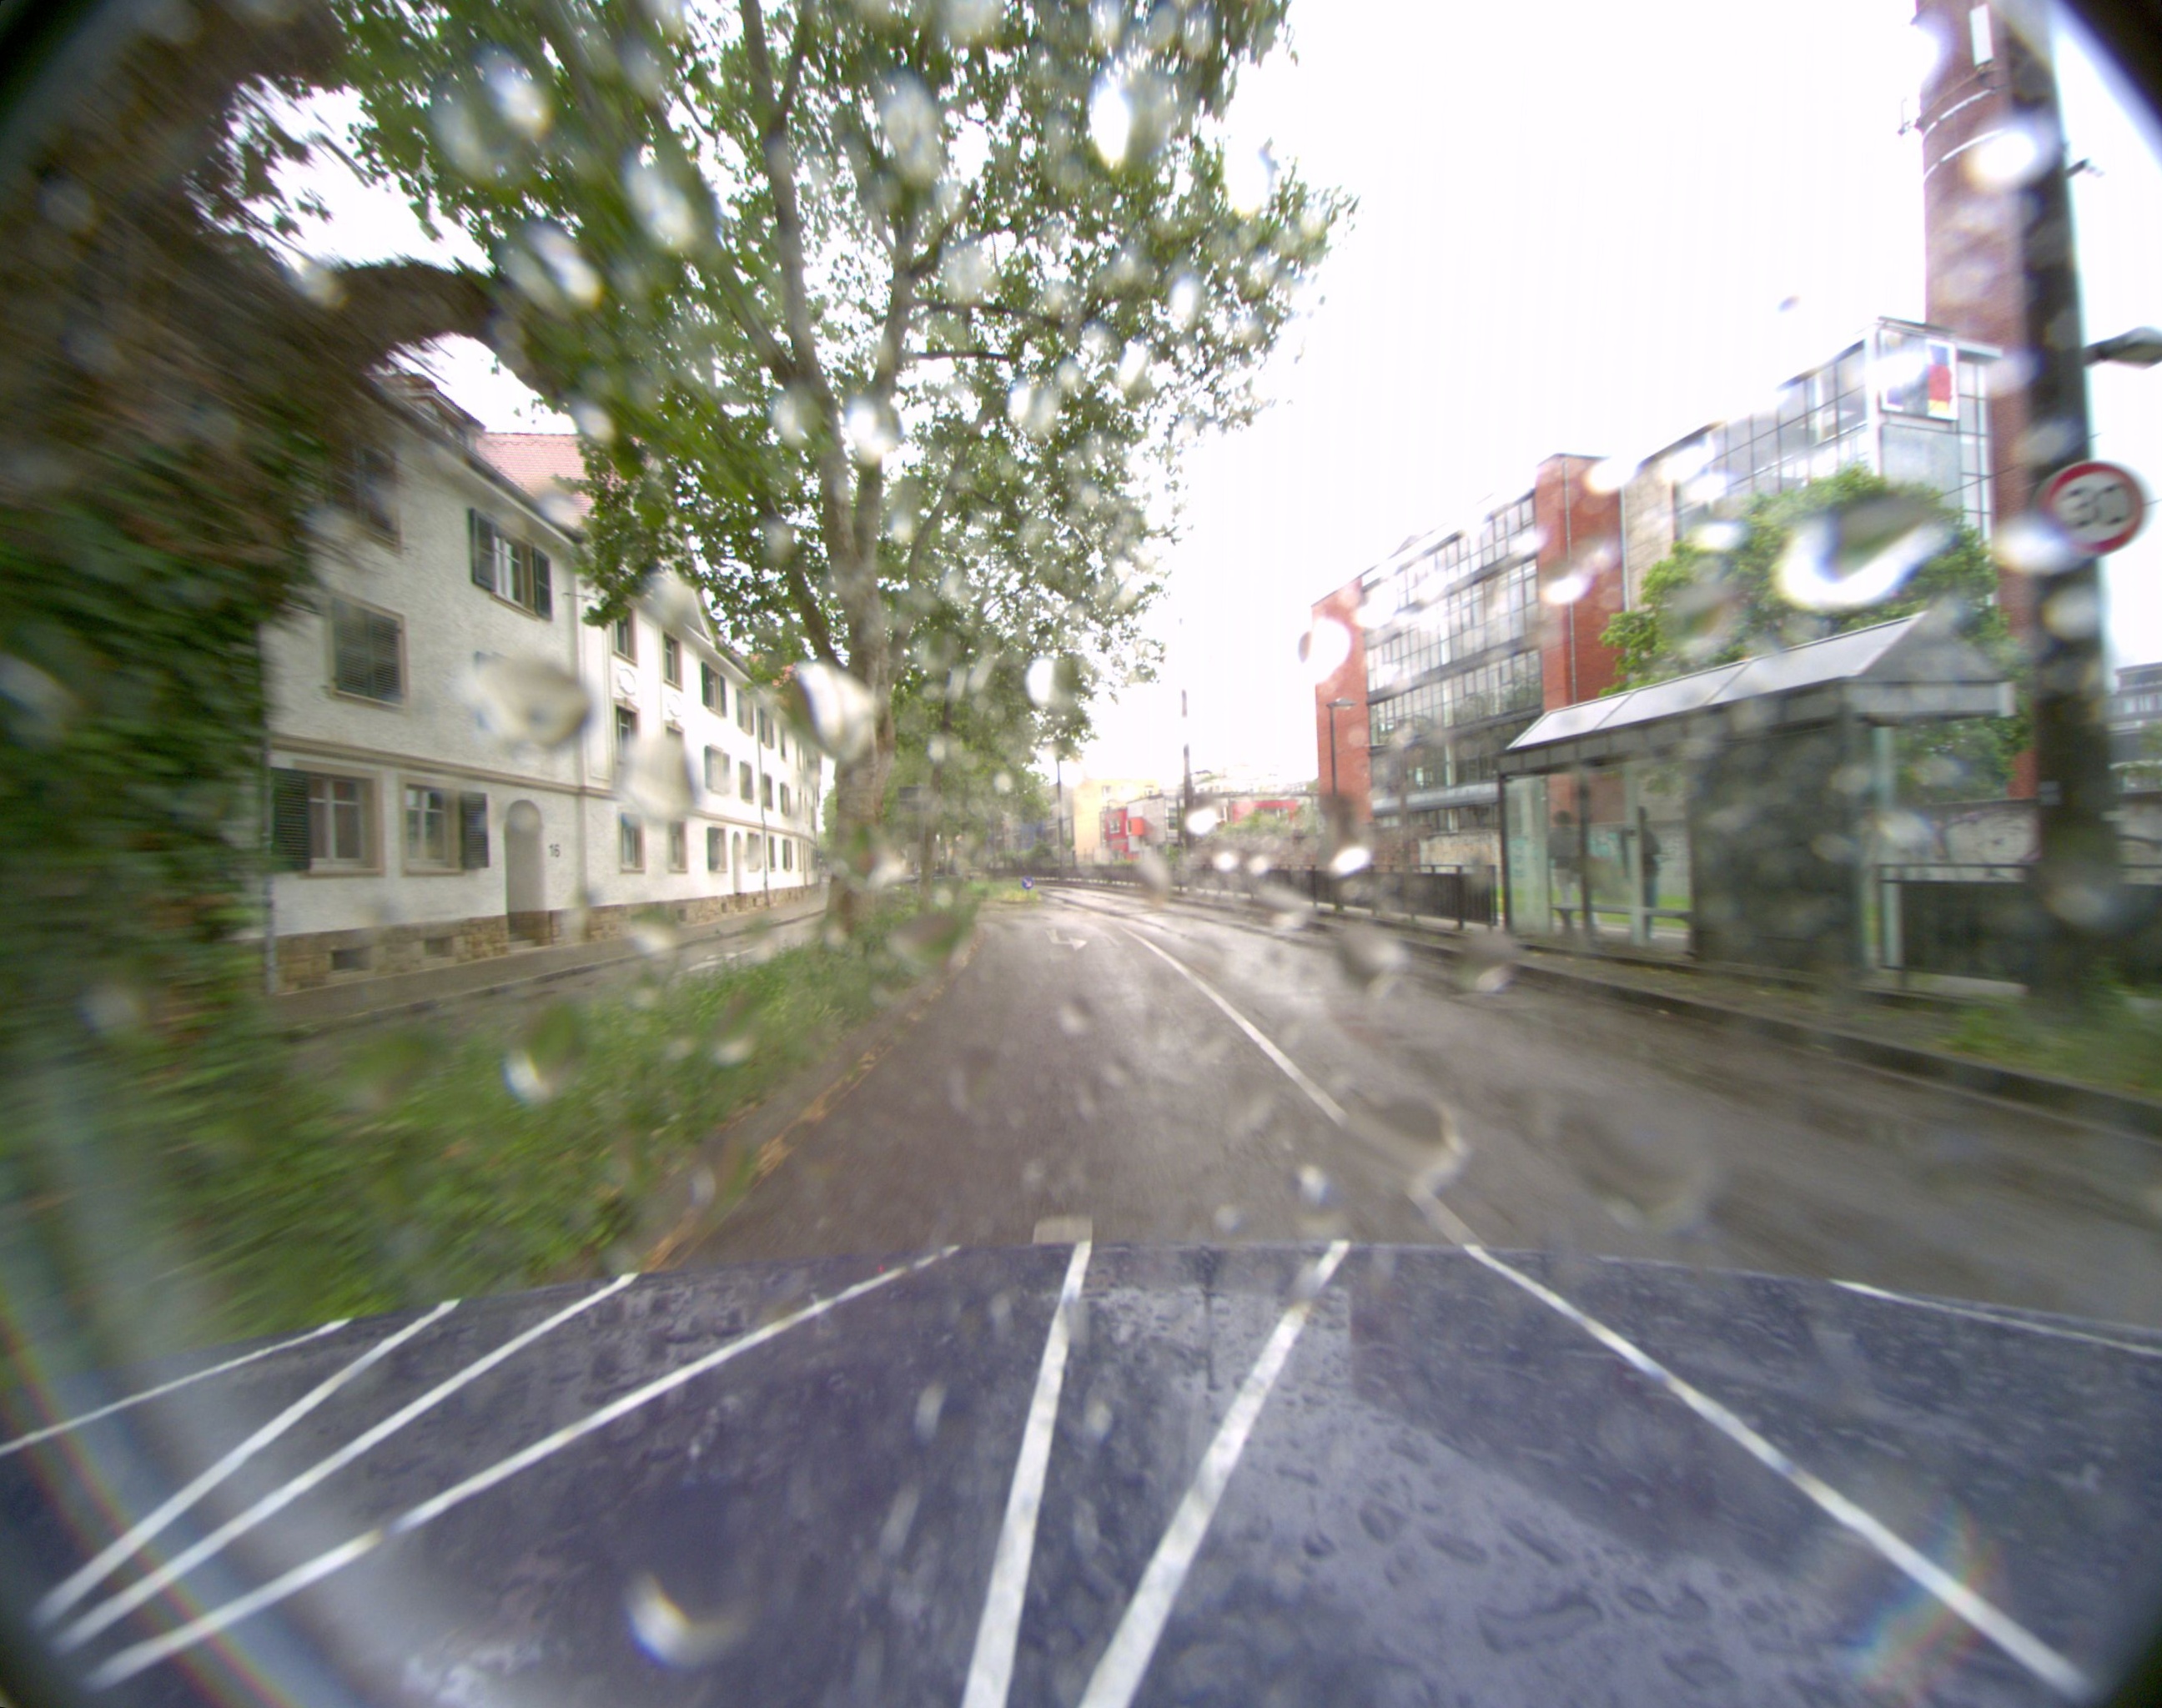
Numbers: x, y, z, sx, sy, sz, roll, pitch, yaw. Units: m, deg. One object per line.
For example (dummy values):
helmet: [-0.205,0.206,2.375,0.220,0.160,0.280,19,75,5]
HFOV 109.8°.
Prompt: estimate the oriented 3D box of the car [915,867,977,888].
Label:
car: [-10.245,1.770,57.883,4.224,1.532,1.933,-1,0,11]

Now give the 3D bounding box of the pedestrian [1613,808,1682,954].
pedestrian: [6.953,0.322,9.329,0.584,1.721,0.566,-1,0,-43]

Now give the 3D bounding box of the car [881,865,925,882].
car: [-21.906,2.450,93.563,4.884,2.002,2.002,-1,0,11]

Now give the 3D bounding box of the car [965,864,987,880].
car: [-11.828,2.021,85.651,1.694,1.713,3.686,-1,0,-20]

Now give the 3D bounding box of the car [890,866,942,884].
car: [-14.998,1.891,69.143,4.328,1.603,1.749,-1,0,6]

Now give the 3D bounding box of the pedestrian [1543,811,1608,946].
pedestrian: [6.576,0.316,10.103,0.584,1.721,0.567,-1,0,-41]

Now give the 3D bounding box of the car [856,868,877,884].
car: [-22.132,2.265,78.326,1.853,1.586,4.210,-2,0,-17]

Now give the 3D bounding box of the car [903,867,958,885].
car: [-13.138,1.903,66.493,4.326,1.499,1.750,-1,0,13]
